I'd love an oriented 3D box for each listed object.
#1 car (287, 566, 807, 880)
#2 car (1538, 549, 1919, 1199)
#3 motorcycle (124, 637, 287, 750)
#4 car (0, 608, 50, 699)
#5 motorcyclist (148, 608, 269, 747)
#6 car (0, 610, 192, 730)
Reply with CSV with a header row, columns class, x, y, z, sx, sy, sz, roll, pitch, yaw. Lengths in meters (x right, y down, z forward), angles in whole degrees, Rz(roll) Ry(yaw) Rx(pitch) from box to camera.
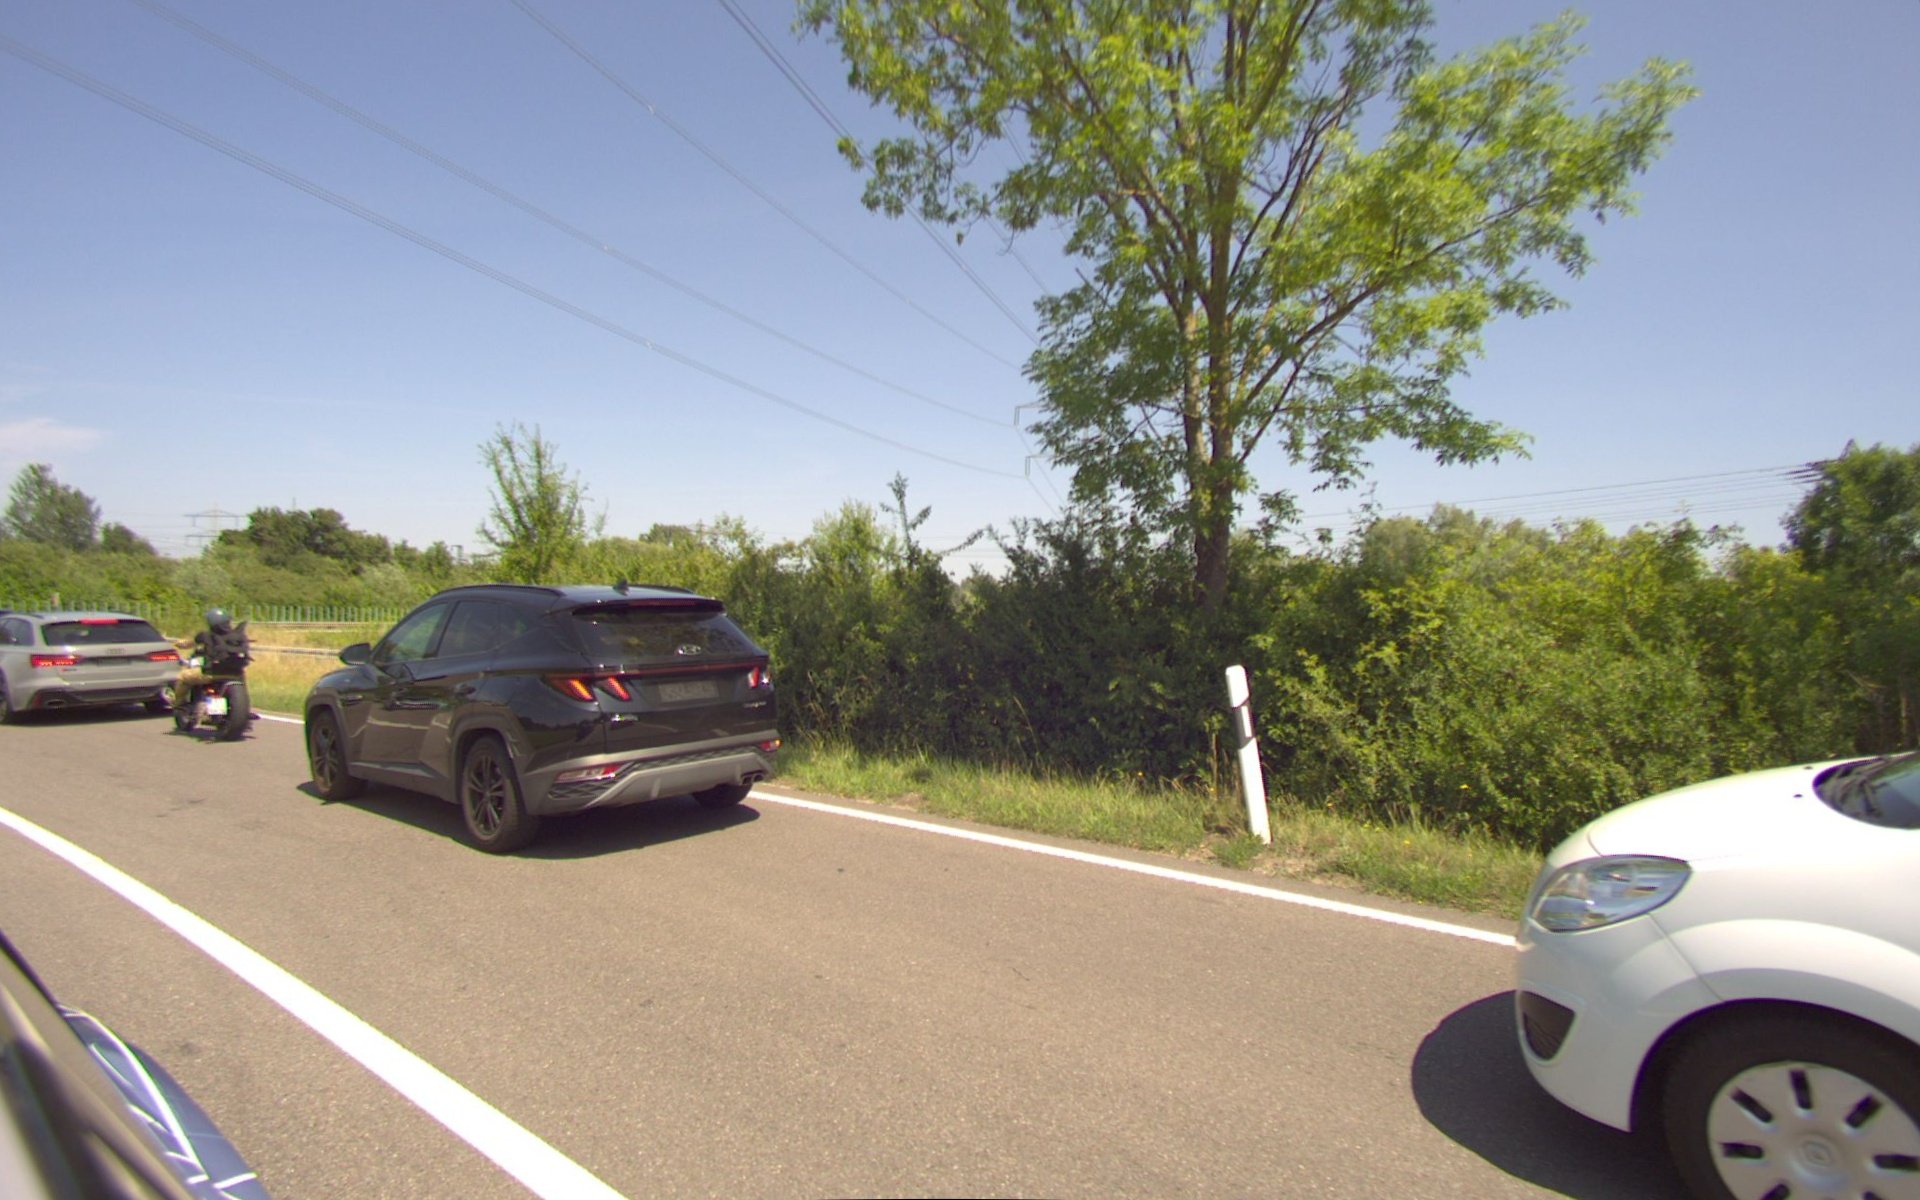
class,x,y,z,sx,sy,sz,roll,pitch,yaw
car,-3.178,0.671,7.343,4.245,1.650,1.685,-1,0,39
car,3.202,0.634,1.733,3.608,1.454,1.520,0,-1,43
motorcycle,-8.805,1.033,11.777,2.423,1.132,0.775,0,0,34
car,-18.186,0.897,18.124,4.380,1.527,1.784,0,-2,34
motorcyclist,-8.674,0.853,11.689,1.128,1.506,0.774,0,-1,34
car,-13.090,0.927,14.562,4.796,1.471,1.826,-2,-2,34
